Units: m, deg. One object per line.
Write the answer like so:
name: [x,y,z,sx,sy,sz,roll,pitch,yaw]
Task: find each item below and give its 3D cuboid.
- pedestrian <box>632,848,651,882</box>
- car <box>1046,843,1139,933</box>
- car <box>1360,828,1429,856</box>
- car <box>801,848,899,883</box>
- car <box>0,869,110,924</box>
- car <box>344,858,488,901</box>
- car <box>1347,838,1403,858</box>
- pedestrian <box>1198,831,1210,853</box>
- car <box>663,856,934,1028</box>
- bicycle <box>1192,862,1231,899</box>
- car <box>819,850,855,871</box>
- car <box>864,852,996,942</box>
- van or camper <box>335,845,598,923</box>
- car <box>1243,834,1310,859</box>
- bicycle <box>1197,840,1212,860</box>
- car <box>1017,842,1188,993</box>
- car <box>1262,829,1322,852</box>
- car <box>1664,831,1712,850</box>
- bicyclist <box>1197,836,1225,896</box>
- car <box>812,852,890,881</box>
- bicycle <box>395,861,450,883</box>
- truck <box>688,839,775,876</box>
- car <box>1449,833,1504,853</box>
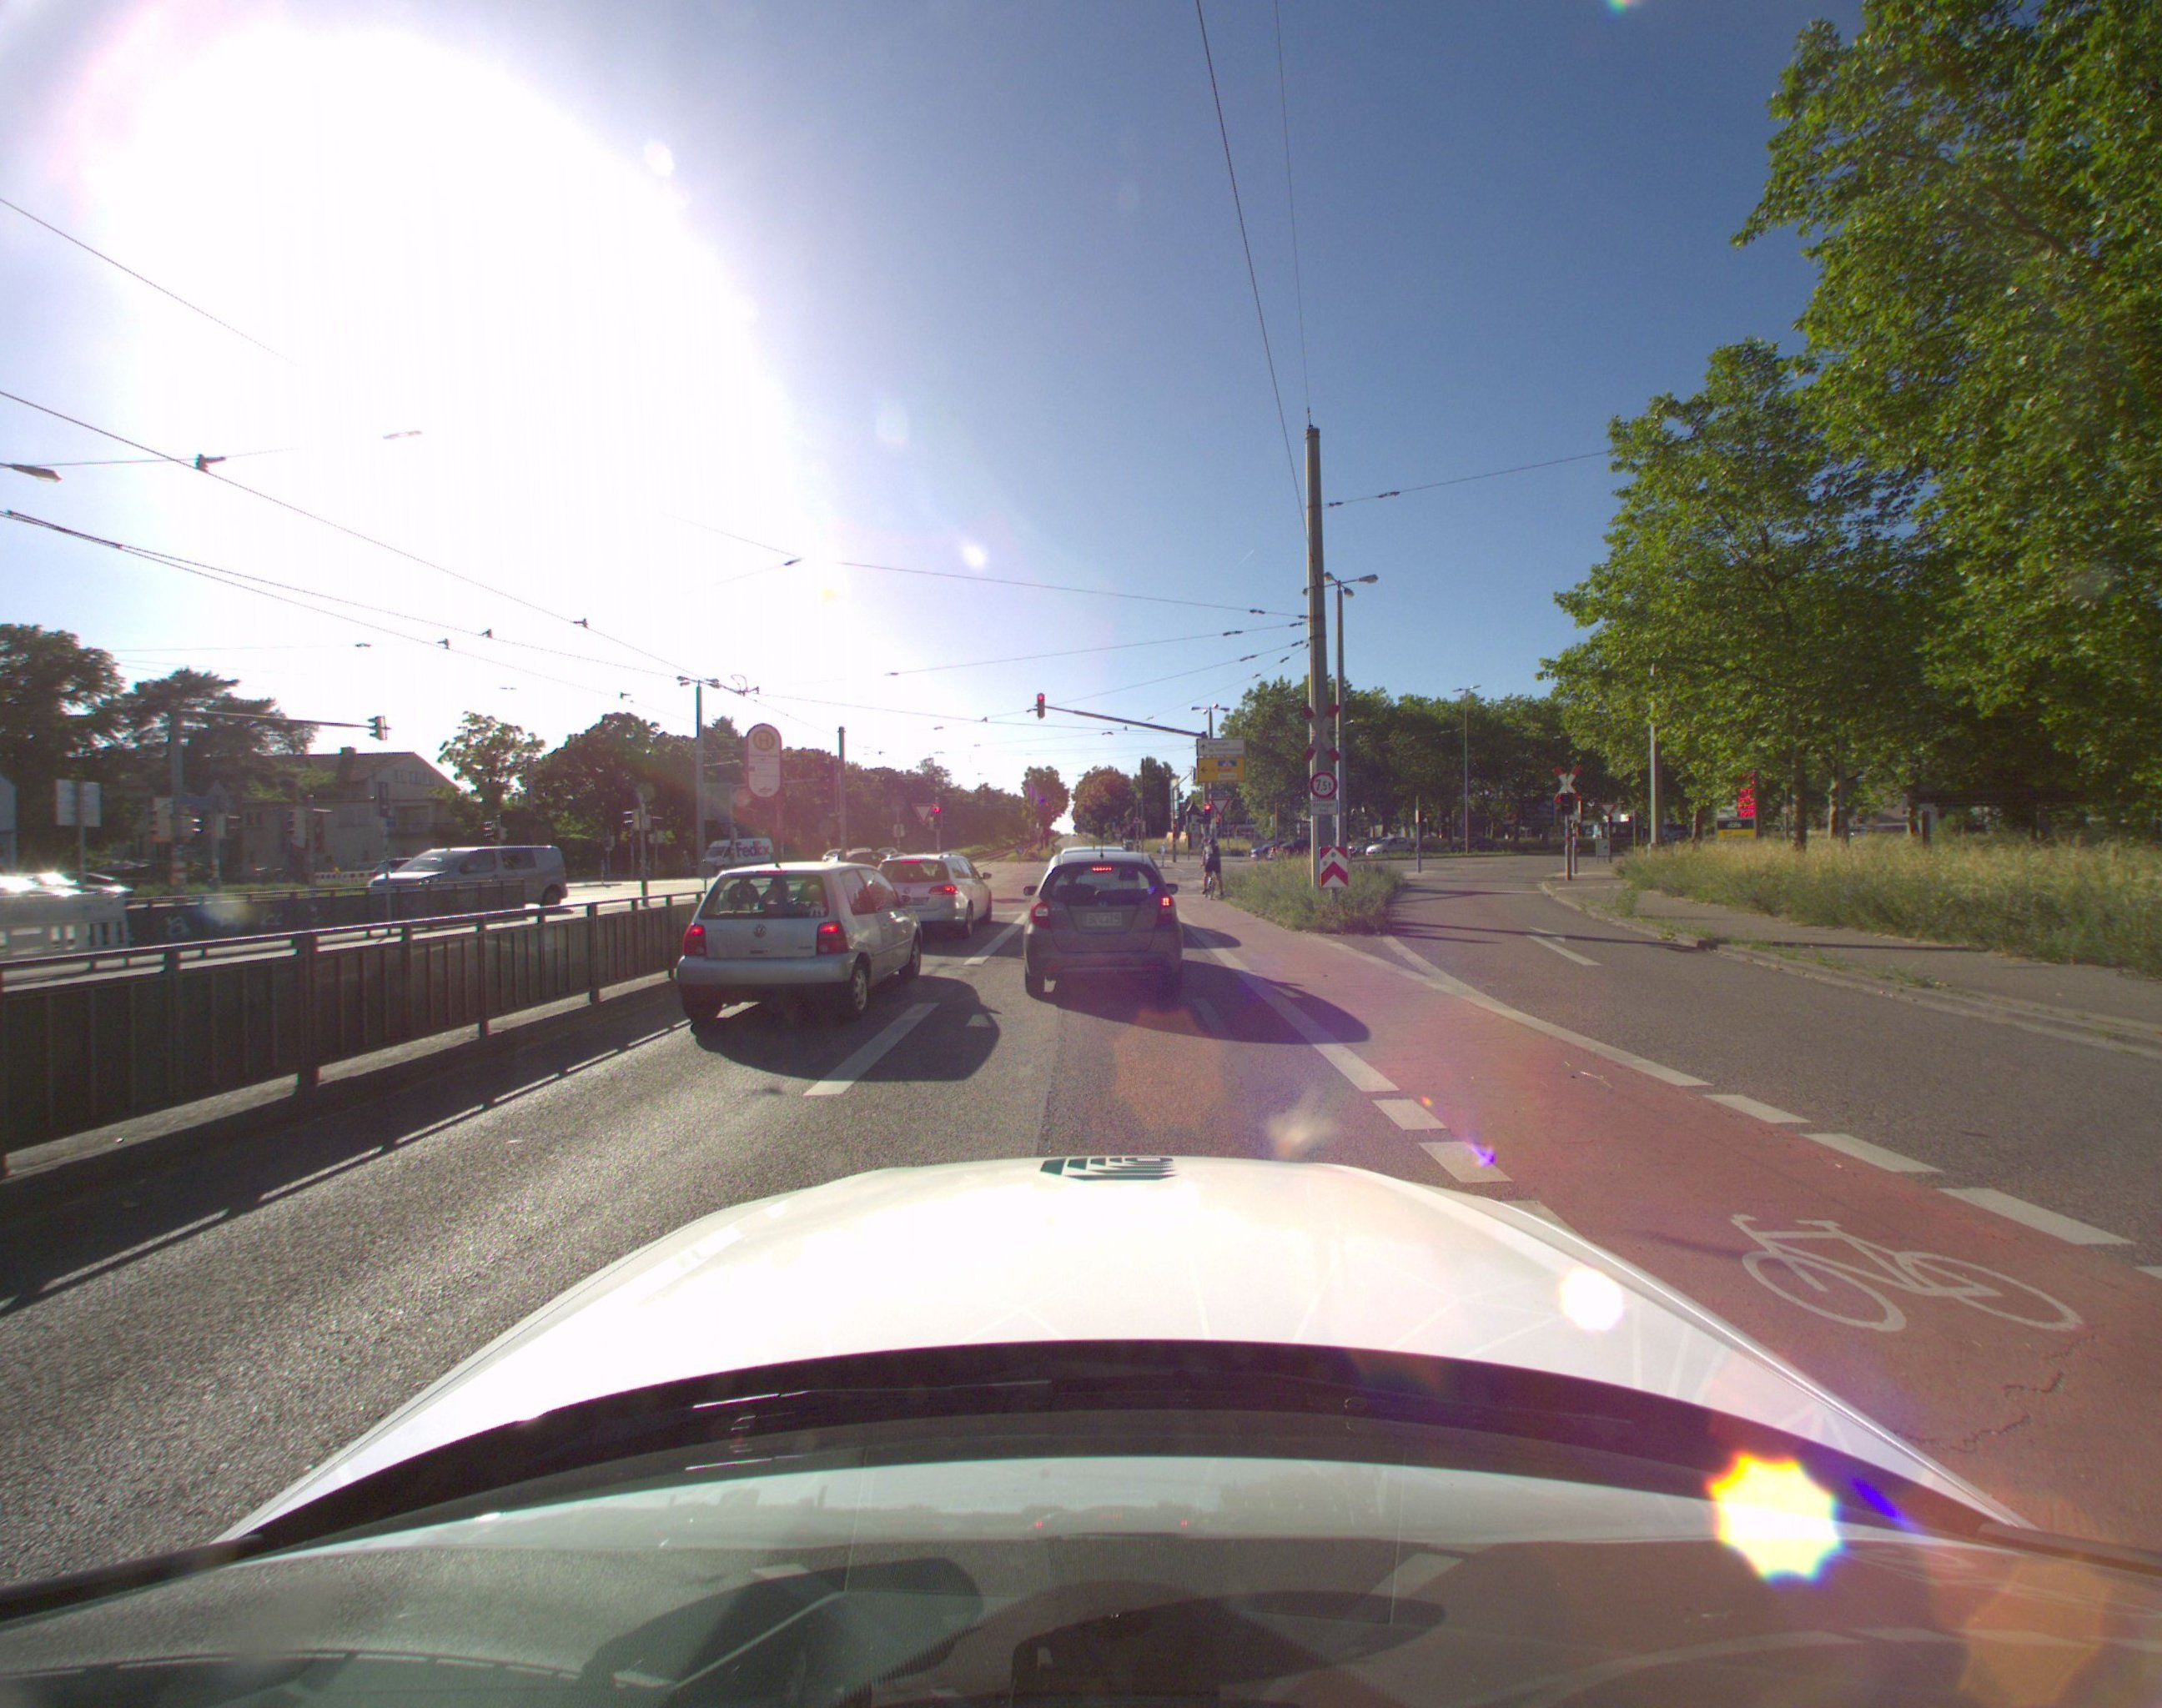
pedestrian: [-26.380,0.646,48.923,0.748,2.013,0.789,-2,0,-11]
car: [0.249,0.588,16.460,1.605,1.562,4.289,-1,0,1]
car: [24.037,-0.909,62.445,4.906,2.013,1.986,-2,0,-21]
car: [-10.362,0.501,36.744,1.588,1.402,4.042,-1,0,37]
car: [-32.345,1.298,23.739,4.844,1.497,1.771,-2,0,-25]
car: [-25.920,0.946,31.919,4.003,1.478,1.703,-2,0,-22]
car: [23.817,-0.485,66.007,3.999,1.578,1.868,0,0,-19]
pedestrian: [10.437,-1.018,69.014,0.782,1.836,0.859,-1,0,18]
car: [-2.736,0.763,8.683,1.613,1.417,3.352,-2,0,1]
bicycle: [3.746,0.741,23.626,0.719,0.989,2.876,0,0,1]
car: [-18.843,0.464,63.066,1.829,1.548,3.993,-2,0,-5]
car: [-2.683,0.708,15.355,1.613,1.457,4.086,0,0,1]
van or camper: [-16.584,0.689,22.581,1.981,1.828,6.005,-1,0,10]
car: [14.955,-0.560,62.288,4.705,1.879,1.986,0,0,-21]
bicycle: [10.504,-0.358,69.144,0.812,1.574,3.229,-1,0,17]
car: [0.201,0.613,9.820,1.663,1.461,3.585,-1,0,0]
car: [15.110,-0.953,58.255,4.002,1.531,1.594,-2,1,-21]
car: [53.516,-1.187,71.788,3.989,1.544,1.580,-2,0,-24]
bicyclist: [3.746,0.335,23.547,0.663,1.716,0.948,0,0,1]
car: [-12.094,0.635,42.940,1.508,1.378,3.699,-1,0,42]
bicycle: [-39.729,1.077,49.155,2.402,1.262,0.813,-1,0,-17]
truck: [-26.019,0.203,60.980,1.978,2.565,6.853,-1,0,16]
car: [34.334,-0.980,70.695,4.526,1.574,1.681,-2,0,-21]
